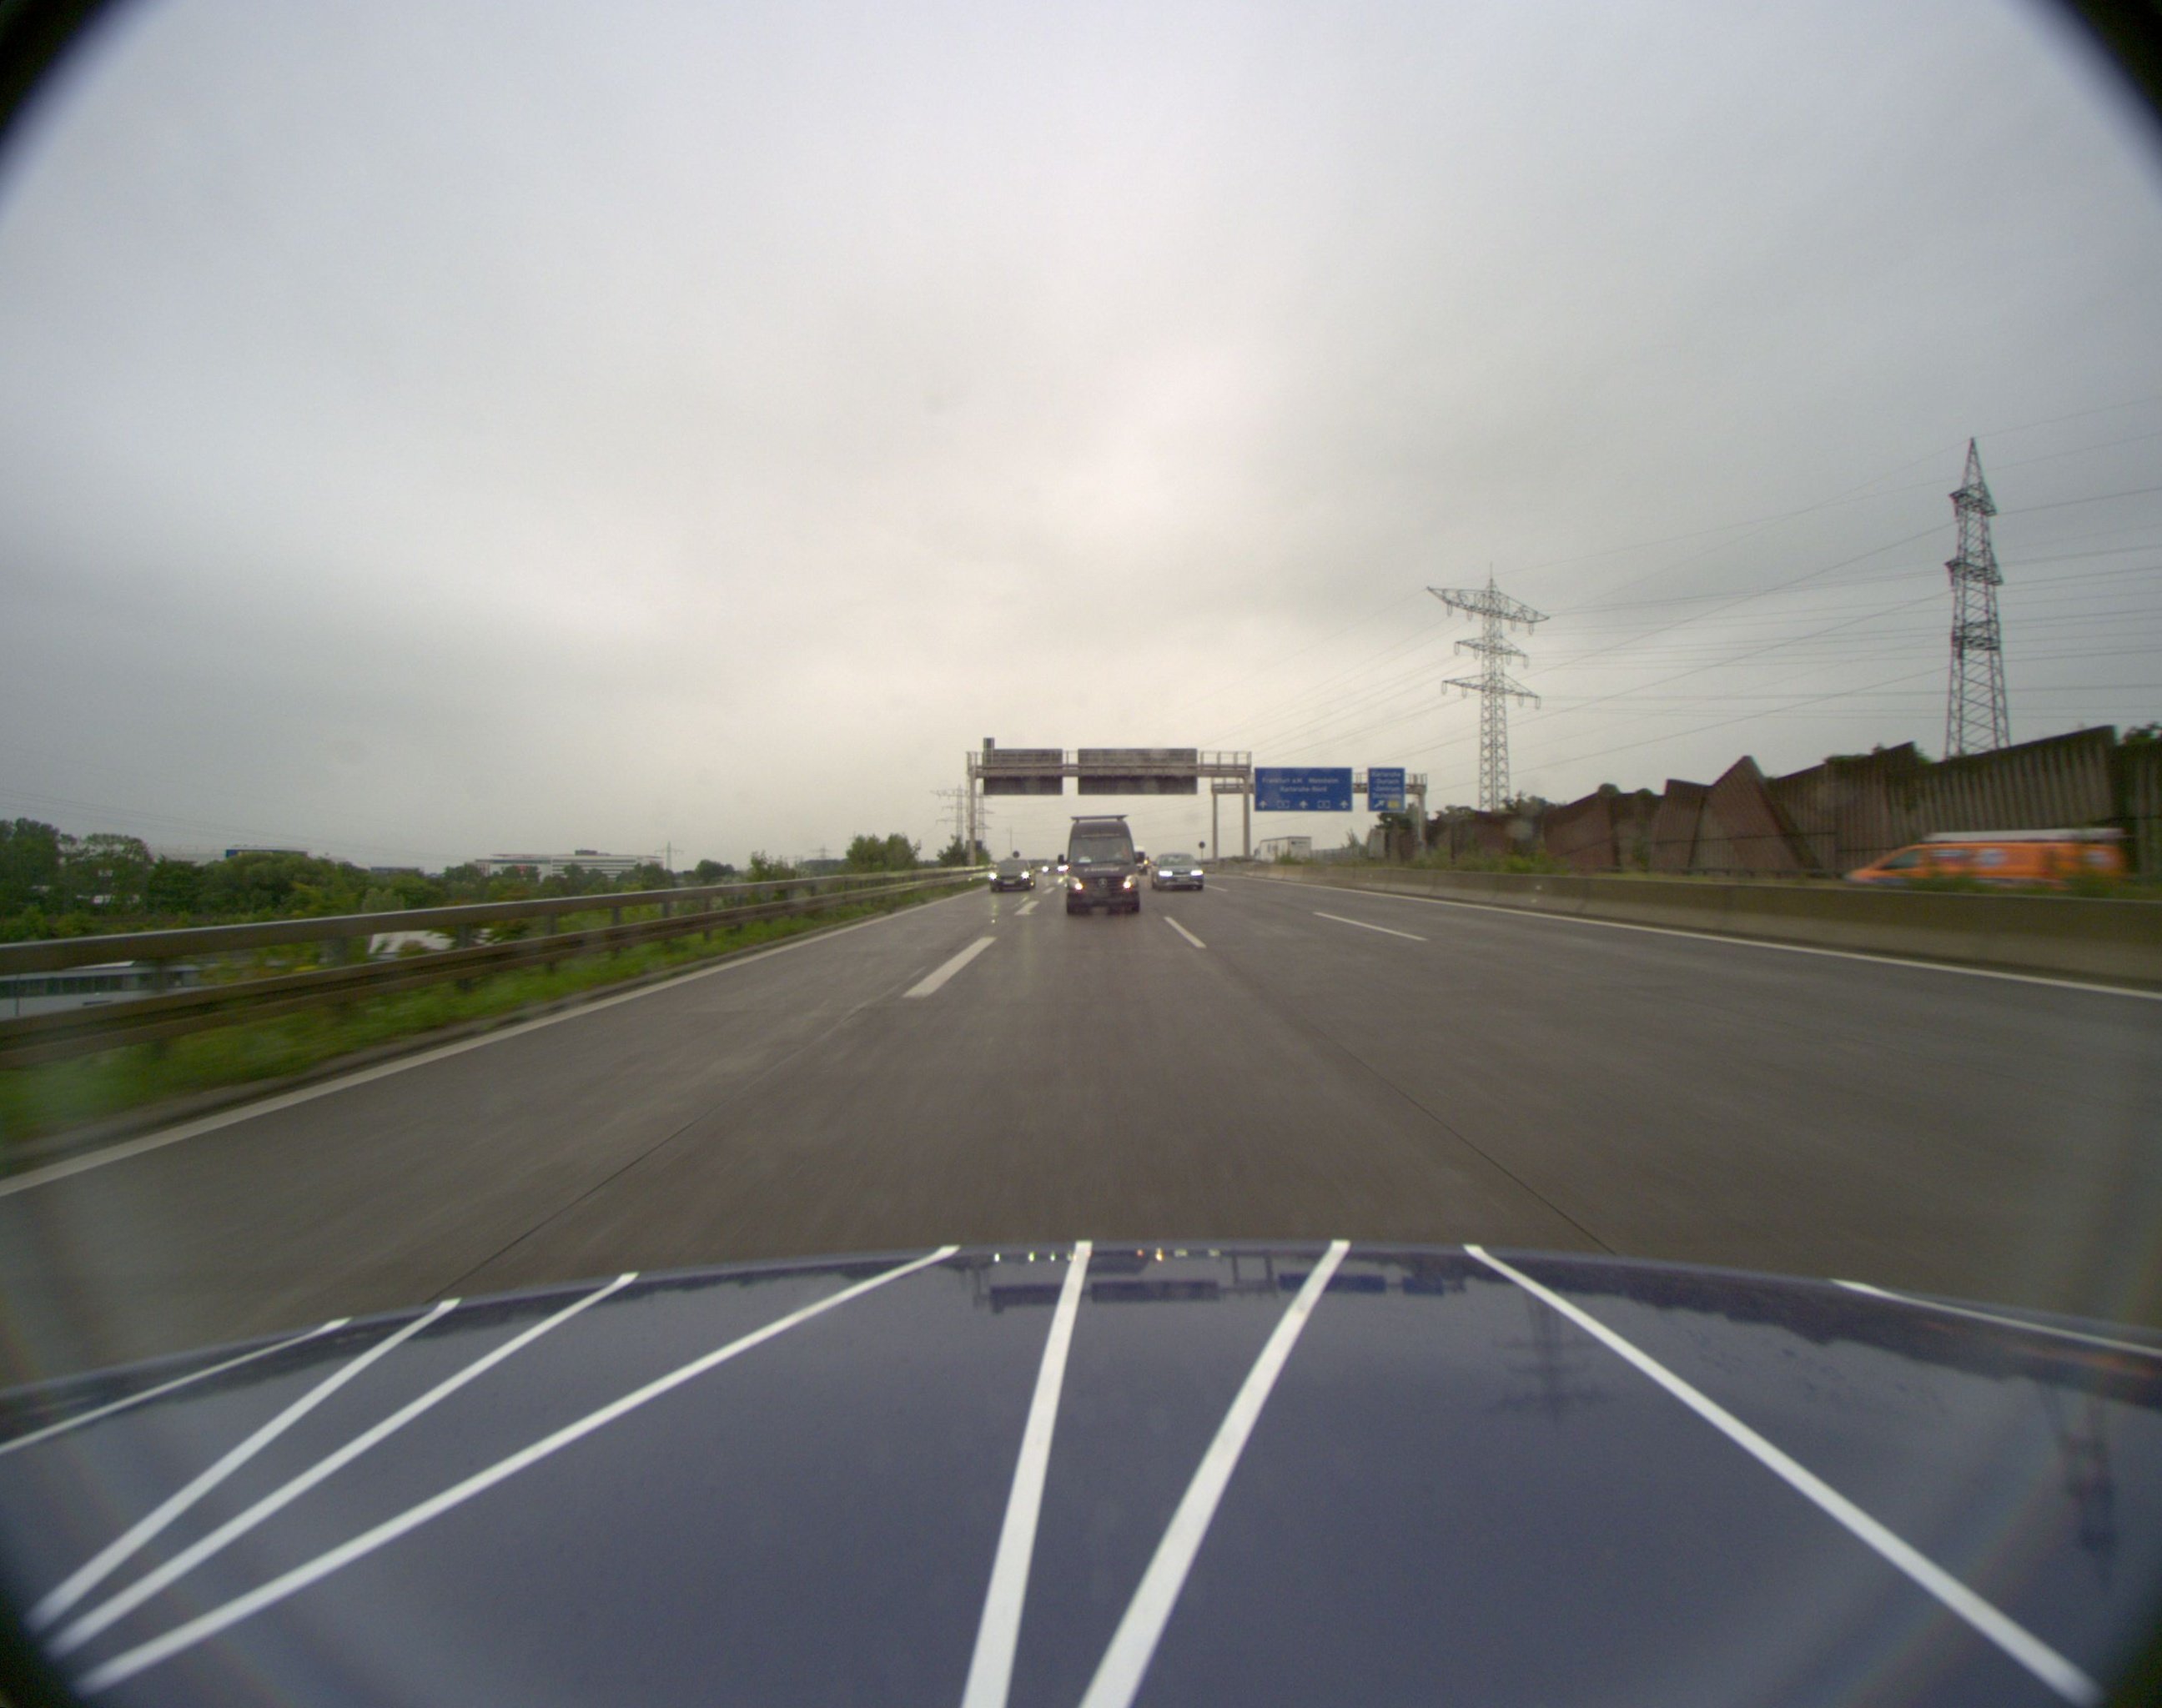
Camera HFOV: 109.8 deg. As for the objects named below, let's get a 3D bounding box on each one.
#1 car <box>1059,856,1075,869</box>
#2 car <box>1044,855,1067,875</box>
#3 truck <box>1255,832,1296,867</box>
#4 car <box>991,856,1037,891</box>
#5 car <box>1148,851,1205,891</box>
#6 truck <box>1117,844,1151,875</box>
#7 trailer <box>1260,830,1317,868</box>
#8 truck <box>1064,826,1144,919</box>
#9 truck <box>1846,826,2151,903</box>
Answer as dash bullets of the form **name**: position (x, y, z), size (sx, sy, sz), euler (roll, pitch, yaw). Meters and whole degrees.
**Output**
- **car**: position (-1.827, 1.109, 99.914), size (1.998, 1.706, 4.000), euler (1, 0, 0)
- **car**: position (-2.310, 0.990, 70.291), size (1.998, 1.706, 4.000), euler (1, 0, 0)
- **truck**: position (24.719, -0.535, 97.004), size (3.064, 4.162, 7.887), euler (-2, 0, 0)
- **car**: position (-3.196, 0.911, 36.954), size (1.862, 1.531, 4.203), euler (-2, -1, -1)
- **car**: position (4.117, 0.700, 33.629), size (1.843, 1.585, 5.155), euler (-1, 0, 0)
- **truck**: position (4.556, 0.466, 66.004), size (2.243, 2.464, 6.582), euler (-2, 0, -1)
- **trailer**: position (24.657, -0.553, 91.079), size (3.064, 4.161, 13.570), euler (-2, 0, 0)
- **truck**: position (0.514, 0.457, 22.348), size (1.999, 2.324, 6.110), euler (-1, 0, -1)
- **truck**: position (23.530, 0.231, 19.905), size (1.998, 1.729, 5.016), euler (-1, 0, 1)
